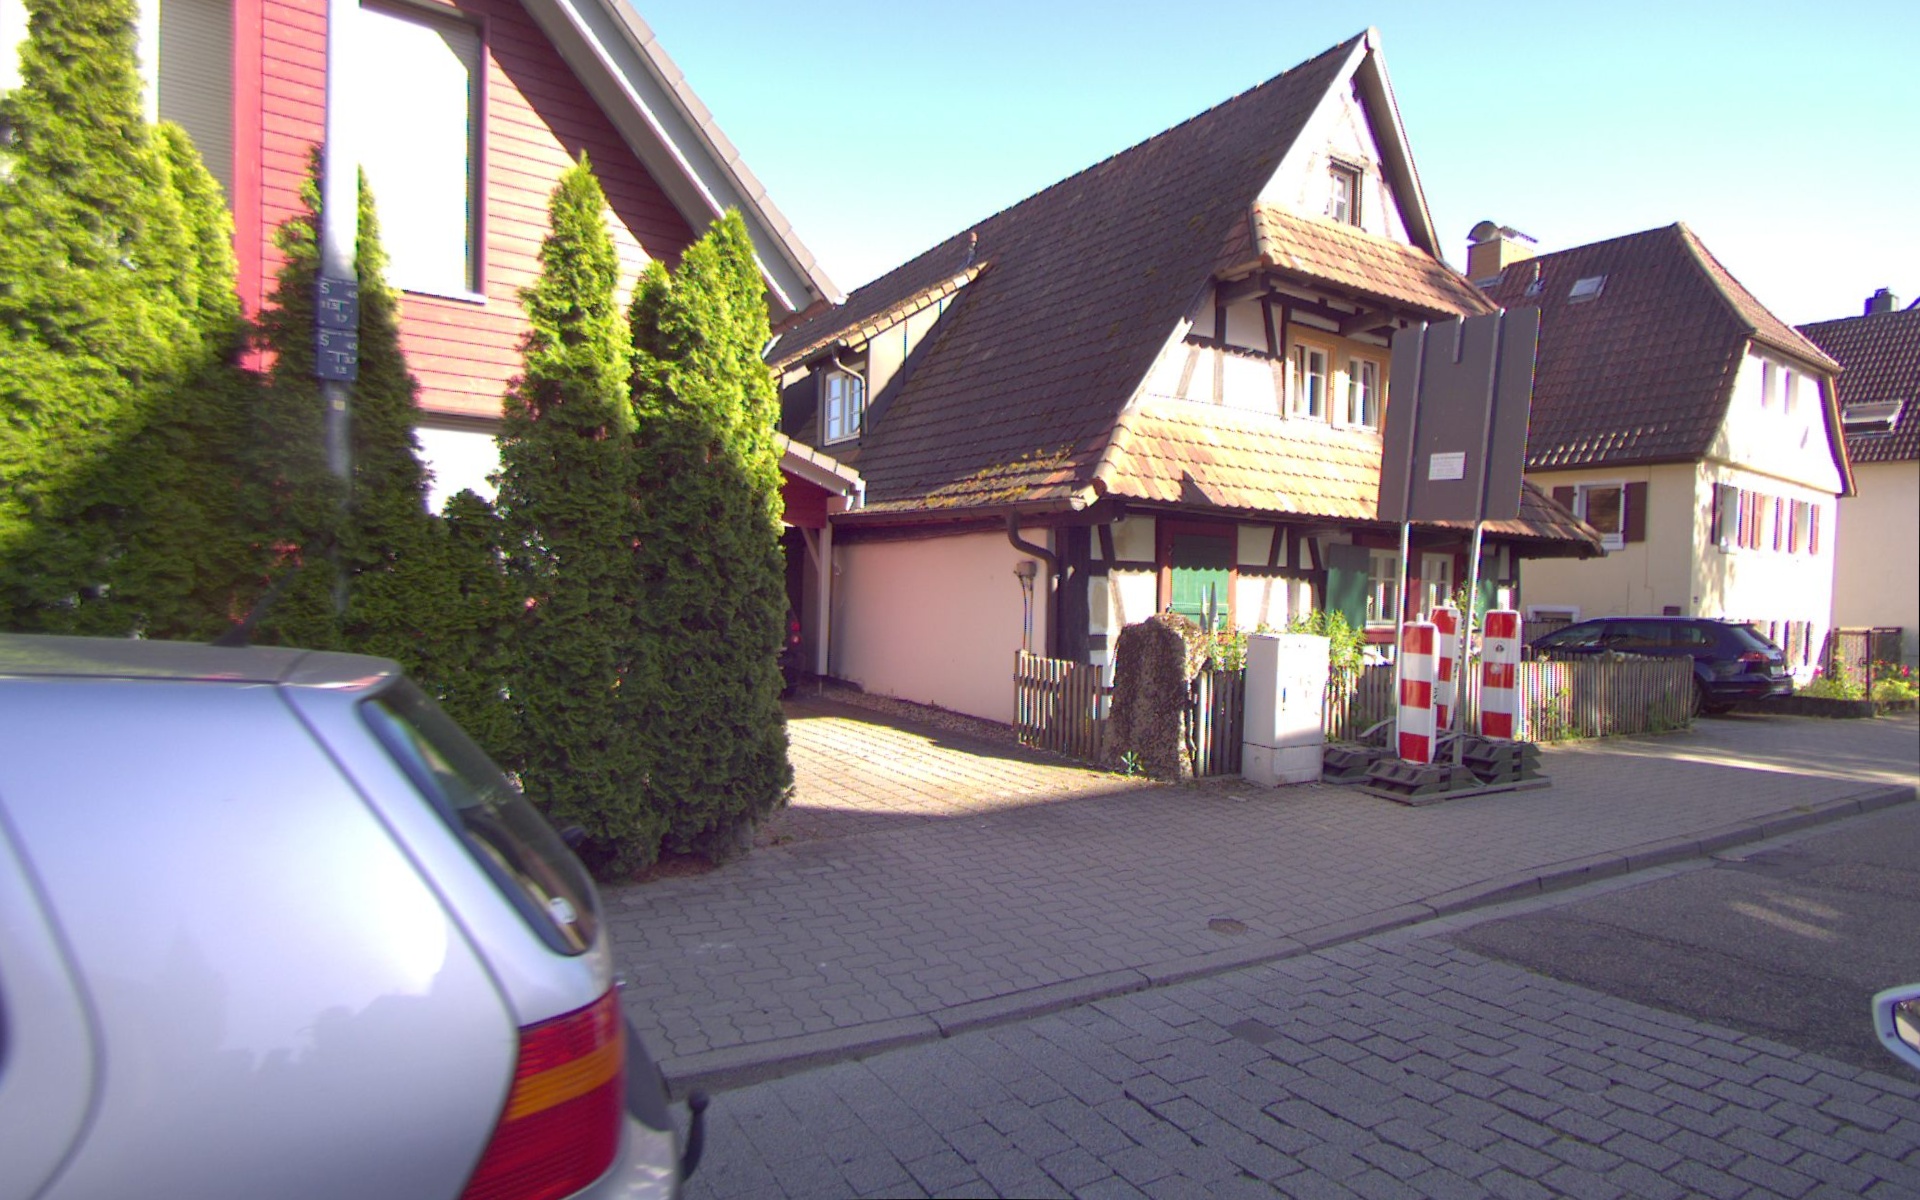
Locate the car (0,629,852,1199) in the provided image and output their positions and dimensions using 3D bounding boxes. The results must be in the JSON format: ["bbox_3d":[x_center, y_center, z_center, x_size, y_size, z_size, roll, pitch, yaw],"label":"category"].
[{"bbox_3d":[-2.214,0.755,1.071,3.848,1.421,1.662,1,-1,-32],"label":"car"}]

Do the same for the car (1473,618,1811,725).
[{"bbox_3d":[10.721,1.024,16.074,1.830,1.481,4.130,1,-1,-36],"label":"car"}]

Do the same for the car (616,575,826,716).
[{"bbox_3d":[-3.256,0.446,13.059,1.793,1.522,3.972,0,1,-27],"label":"car"}]
